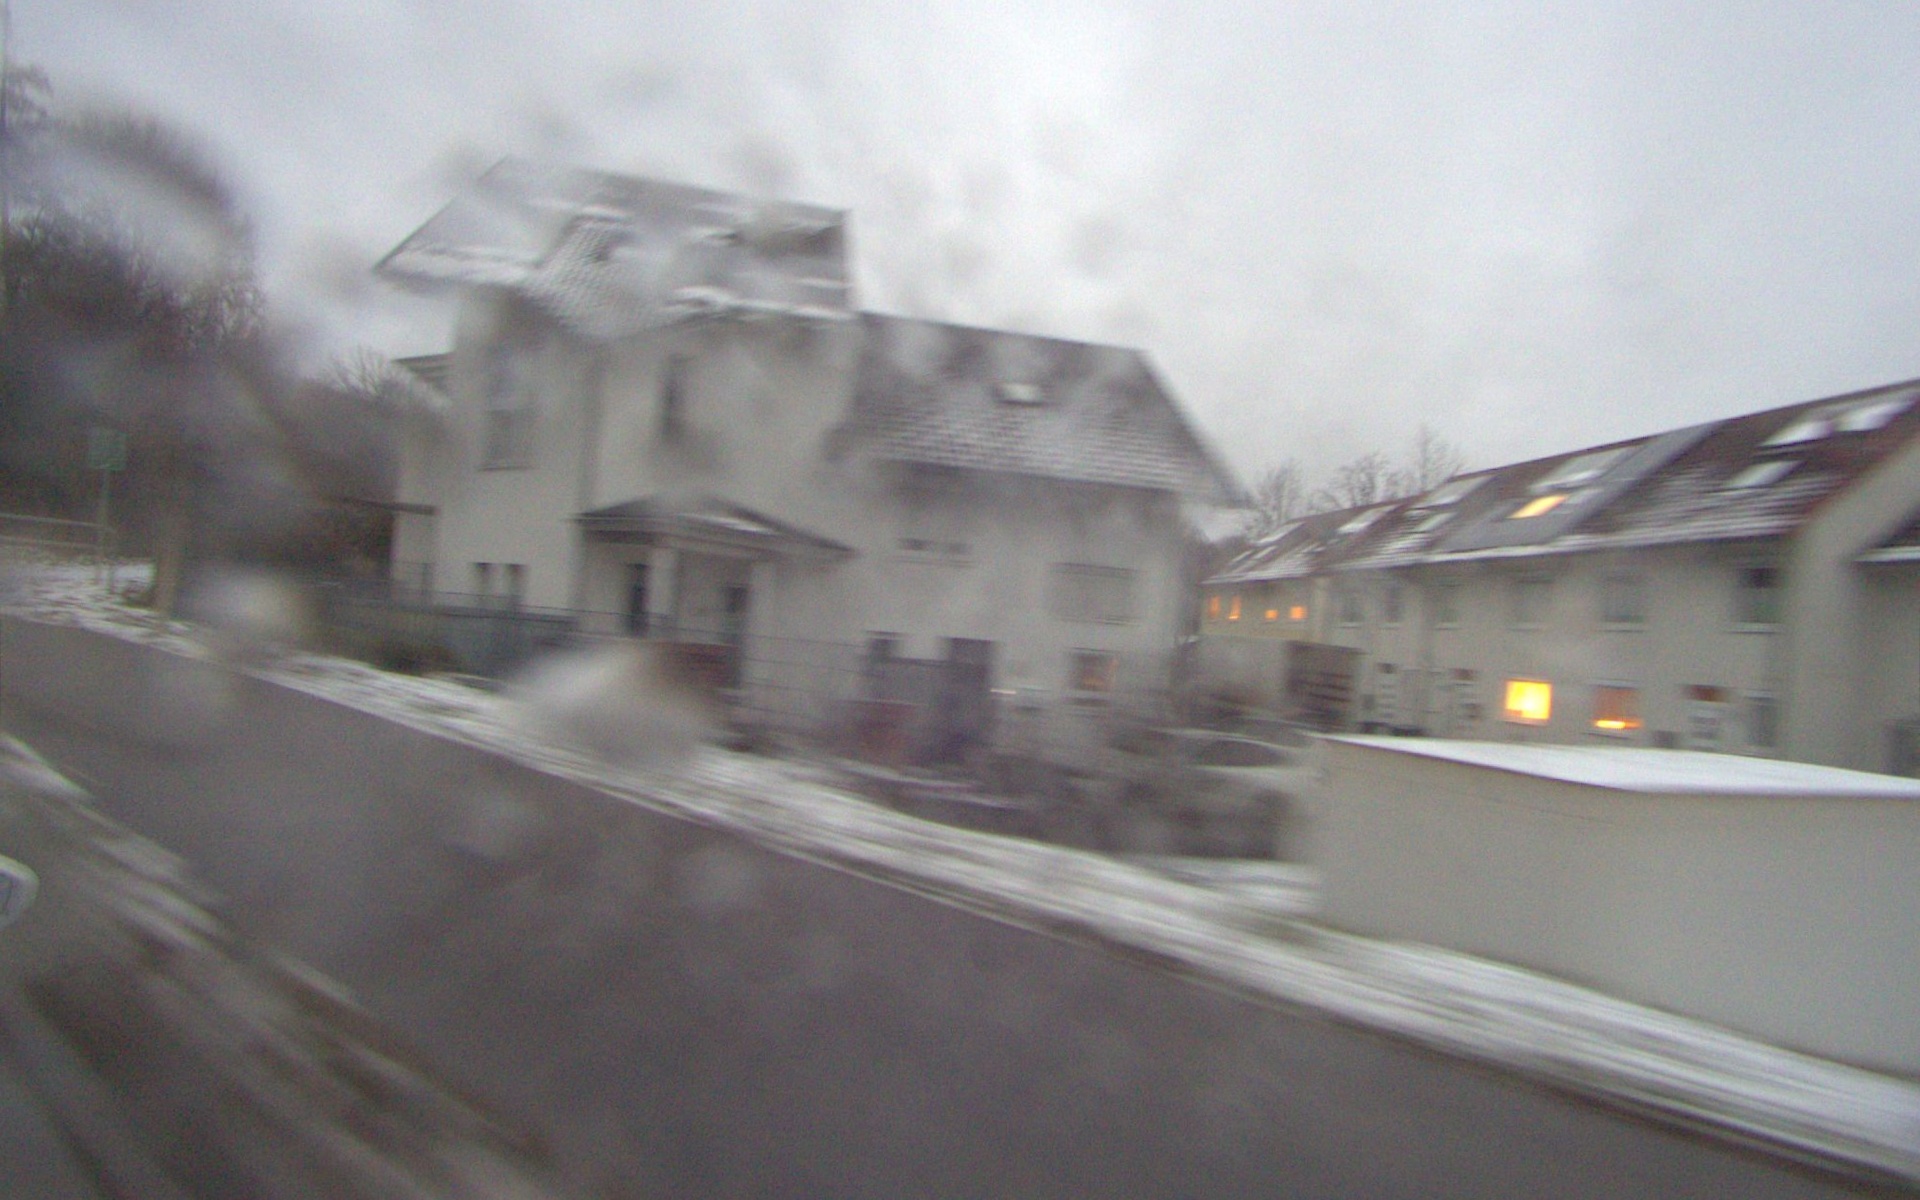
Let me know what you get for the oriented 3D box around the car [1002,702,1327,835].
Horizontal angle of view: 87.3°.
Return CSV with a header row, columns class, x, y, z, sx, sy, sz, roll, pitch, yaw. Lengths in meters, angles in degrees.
class,x,y,z,sx,sy,sz,roll,pitch,yaw
car,3.335,2.734,16.266,4.849,1.505,1.941,8,-1,-25
